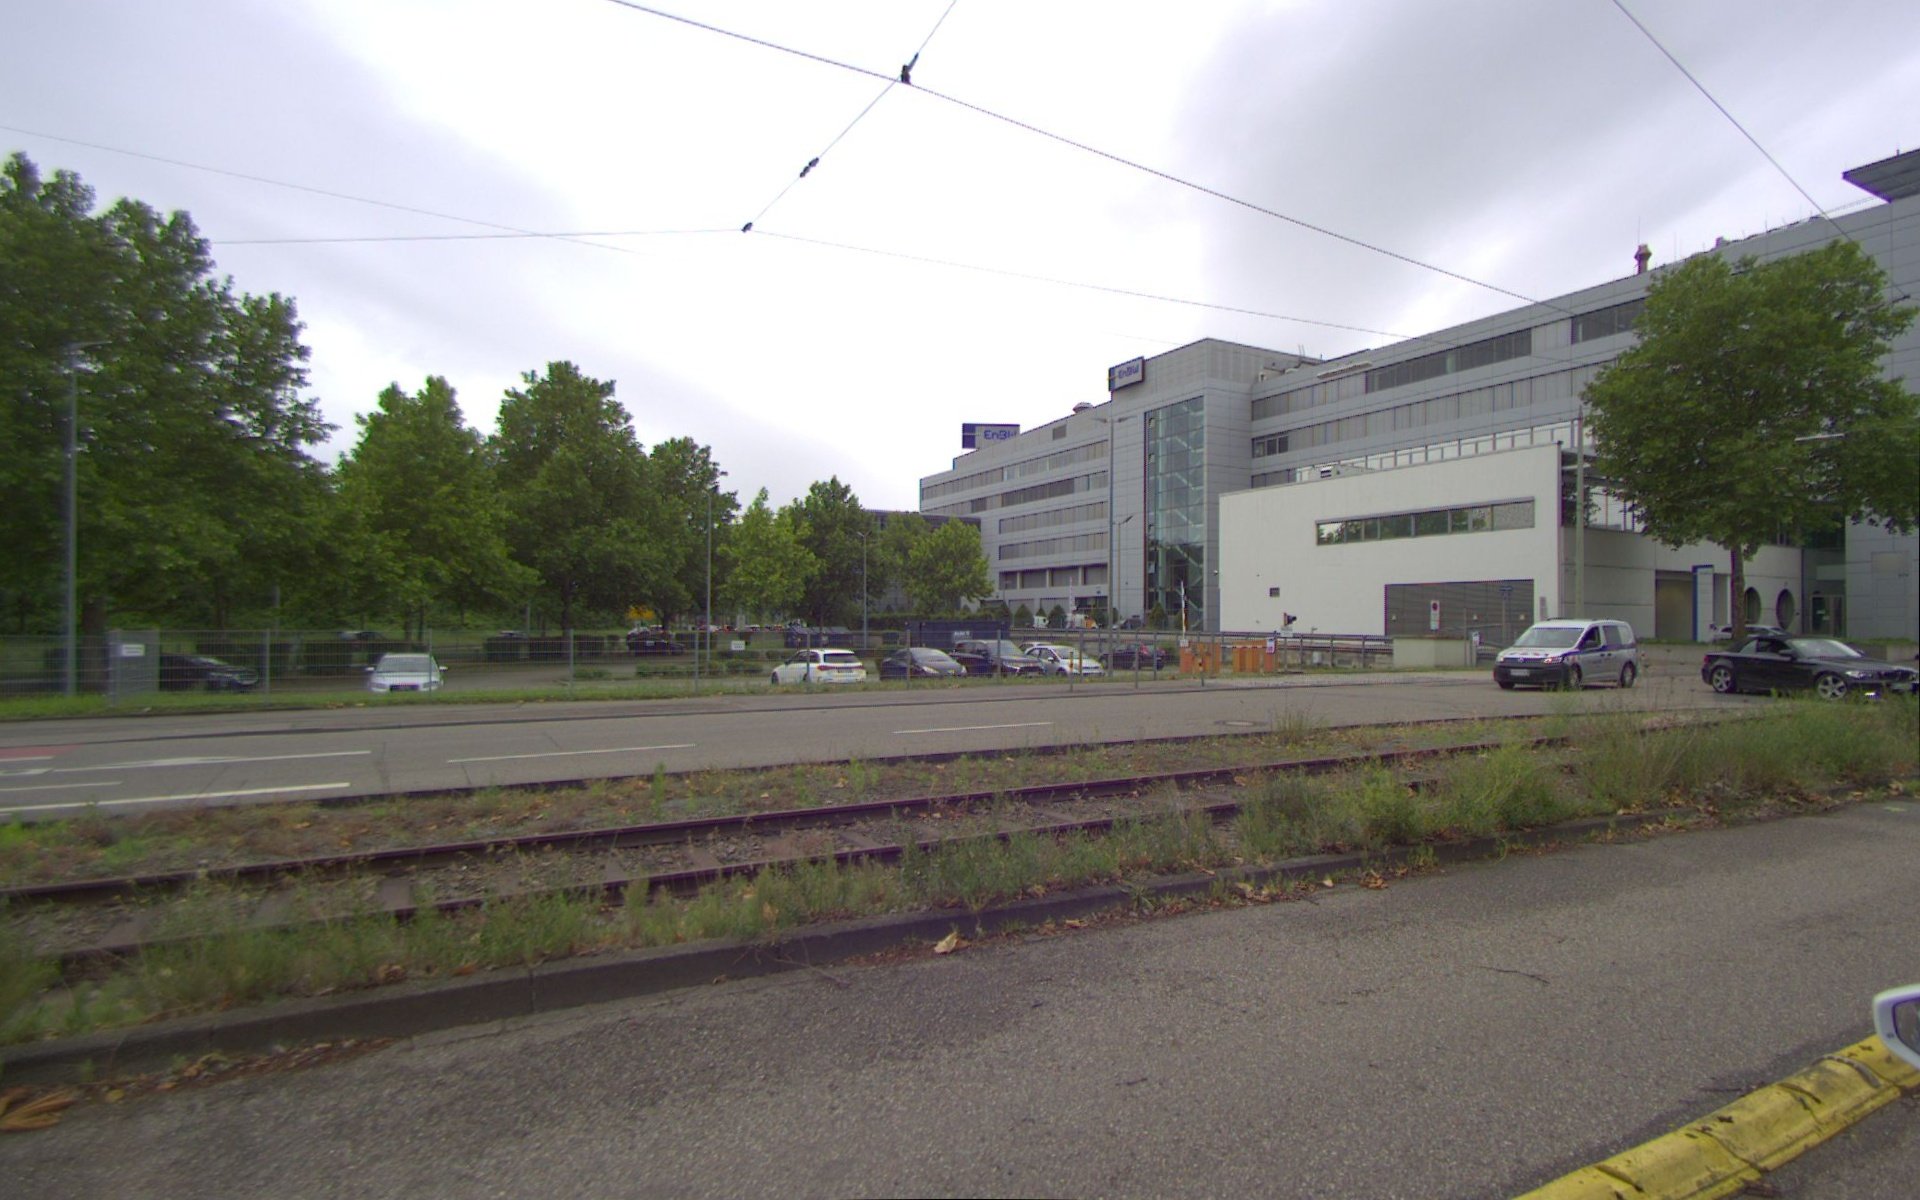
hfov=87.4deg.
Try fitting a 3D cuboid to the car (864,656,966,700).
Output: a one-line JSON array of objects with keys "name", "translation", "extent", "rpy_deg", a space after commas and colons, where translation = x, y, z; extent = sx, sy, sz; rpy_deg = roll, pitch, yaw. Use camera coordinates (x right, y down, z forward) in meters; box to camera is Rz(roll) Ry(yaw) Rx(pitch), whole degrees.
[{"name": "car", "translation": [-1.615, 2.651, 34.745], "extent": [1.891, 1.332, 3.967], "rpy_deg": [1, -2, -31]}]

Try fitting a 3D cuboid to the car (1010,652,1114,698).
[{"name": "car", "translation": [3.736, 2.746, 37.483], "extent": [1.891, 1.505, 3.967], "rpy_deg": [1, -2, -31]}]

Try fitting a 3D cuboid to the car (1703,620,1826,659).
[{"name": "car", "translation": [40.323, 1.953, 50.462], "extent": [1.805, 1.692, 4.488], "rpy_deg": [2, 0, -31]}]

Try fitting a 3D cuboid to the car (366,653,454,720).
[{"name": "car", "translation": [-14.722, 2.247, 27.078], "extent": [1.888, 1.552, 4.197], "rpy_deg": [1, -2, -27]}]

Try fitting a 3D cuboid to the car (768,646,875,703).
[{"name": "car", "translation": [-4.603, 2.367, 32.822], "extent": [1.891, 1.655, 4.504], "rpy_deg": [1, -2, -31]}]

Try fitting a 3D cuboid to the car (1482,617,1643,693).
[{"name": "car", "translation": [15.562, 1.380, 25.894], "extent": [4.378, 1.806, 1.809], "rpy_deg": [1, -2, -33]}]

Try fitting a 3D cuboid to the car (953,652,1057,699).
[{"name": "car", "translation": [1.549, 2.669, 36.078], "extent": [1.891, 1.505, 3.967], "rpy_deg": [1, -2, -31]}]

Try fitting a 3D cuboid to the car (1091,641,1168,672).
[{"name": "car", "translation": [8.895, 2.928, 52.950], "extent": [1.891, 1.505, 3.967], "rpy_deg": [1, -2, -31]}]

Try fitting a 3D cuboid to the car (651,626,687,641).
[{"name": "car", "translation": [-32.404, 3.692, 112.068], "extent": [1.928, 1.548, 5.013], "rpy_deg": [1, 0, 9]}]

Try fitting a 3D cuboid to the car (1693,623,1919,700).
[{"name": "car", "translation": [18.501, 1.338, 22.011], "extent": [1.790, 1.494, 4.131], "rpy_deg": [1, -3, -1]}]

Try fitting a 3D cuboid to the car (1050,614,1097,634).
[{"name": "car", "translation": [11.983, 2.525, 106.175], "extent": [4.593, 2.040, 1.986], "rpy_deg": [1, -2, -29]}]

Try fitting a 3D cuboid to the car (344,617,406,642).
[{"name": "car", "translation": [-38.543, 1.941, 66.298], "extent": [1.738, 1.548, 3.671], "rpy_deg": [1, 0, 5]}]
